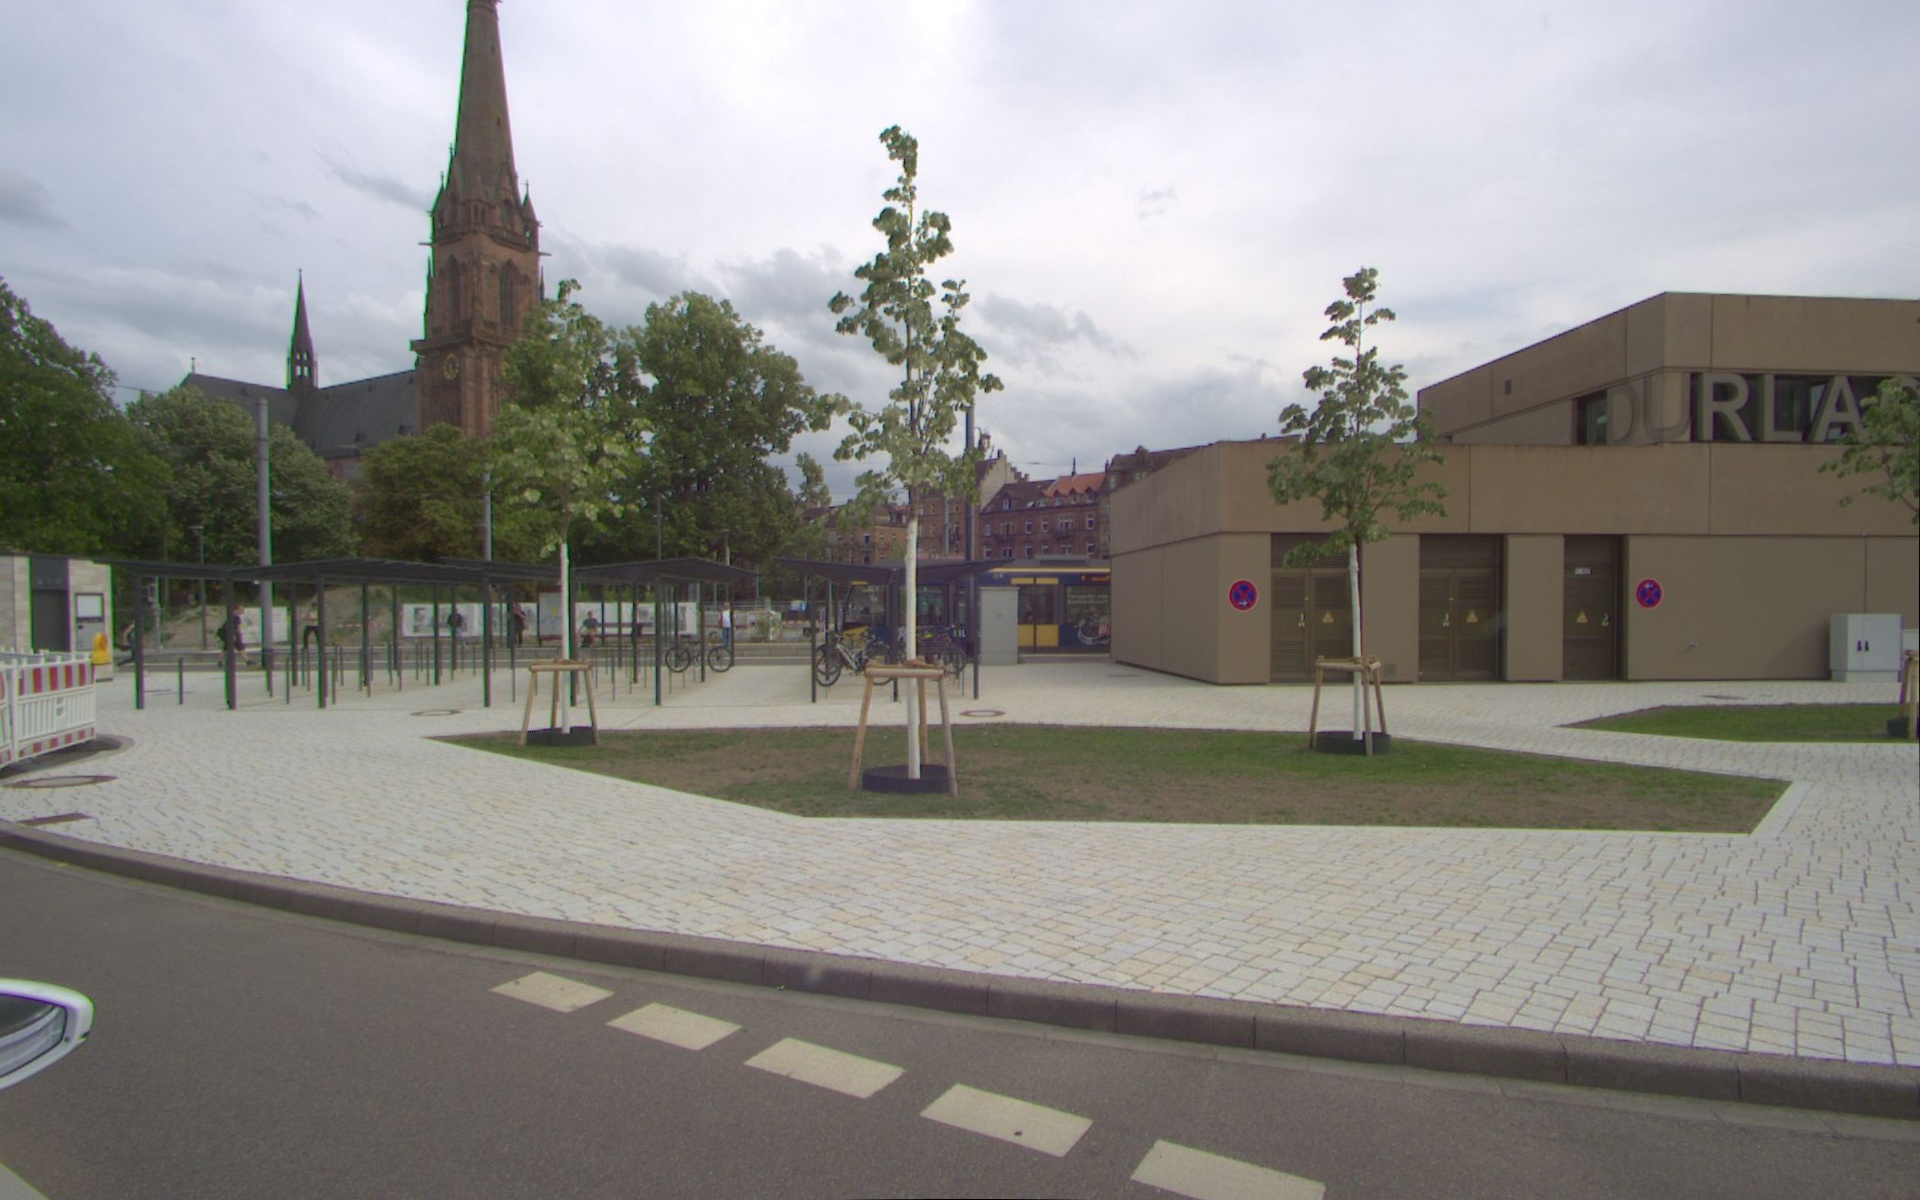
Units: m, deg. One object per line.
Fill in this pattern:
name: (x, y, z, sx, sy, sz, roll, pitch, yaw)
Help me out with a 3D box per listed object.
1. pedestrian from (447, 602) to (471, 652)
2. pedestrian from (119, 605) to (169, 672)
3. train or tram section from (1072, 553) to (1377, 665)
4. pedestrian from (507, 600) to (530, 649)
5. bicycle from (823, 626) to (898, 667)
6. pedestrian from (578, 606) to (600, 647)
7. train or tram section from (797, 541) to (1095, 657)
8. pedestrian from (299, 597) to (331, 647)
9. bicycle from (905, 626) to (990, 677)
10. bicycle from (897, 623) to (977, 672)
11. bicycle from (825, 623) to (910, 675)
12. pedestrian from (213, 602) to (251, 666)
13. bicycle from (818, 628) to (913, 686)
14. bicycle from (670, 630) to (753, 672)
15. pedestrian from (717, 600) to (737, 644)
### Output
pedestrian: (-18.756, 1.005, 37.503, 0.665, 1.825, 0.522, 2, 2, -11)
pedestrian: (-20.296, 0.959, 24.926, 0.782, 1.625, 0.538, 2, 1, -5)
train or tram section: (8.632, 0.283, 33.432, 9.248, 3.256, 3.061, 2, 1, -4)
pedestrian: (-16.625, 0.922, 37.728, 0.665, 1.825, 0.522, 2, 2, -11)
bicycle: (-2.632, 1.226, 26.490, 1.929, 0.983, 0.583, 2, 1, -7)
pedestrian: (-14.102, 1.016, 38.079, 0.665, 1.505, 0.689, 2, 1, -11)
train or tram section: (-0.493, -0.033, 32.717, 9.189, 3.321, 3.061, 2, 1, -4)
pedestrian: (-23.996, 0.817, 37.233, 0.743, 1.825, 0.817, 3, 2, 42)
bicycle: (-0.297, 1.238, 24.074, 1.931, 1.172, 0.583, 2, 1, -13)
bicycle: (-0.600, 1.212, 25.497, 1.931, 1.172, 0.583, 2, 1, -13)
bicycle: (-2.224, 1.172, 24.010, 1.931, 1.172, 0.583, 2, 1, -13)
pedestrian: (-19.604, 0.910, 26.958, 0.618, 1.677, 0.531, 2, 1, -5)
bicycle: (-2.009, 1.209, 21.232, 1.931, 1.172, 0.583, 2, 1, -13)
bicycle: (-6.136, 1.264, 24.802, 1.929, 0.968, 0.583, 2, 1, -7)
pedestrian: (-9.151, 0.861, 39.336, 0.665, 1.701, 0.709, 2, 1, -11)
